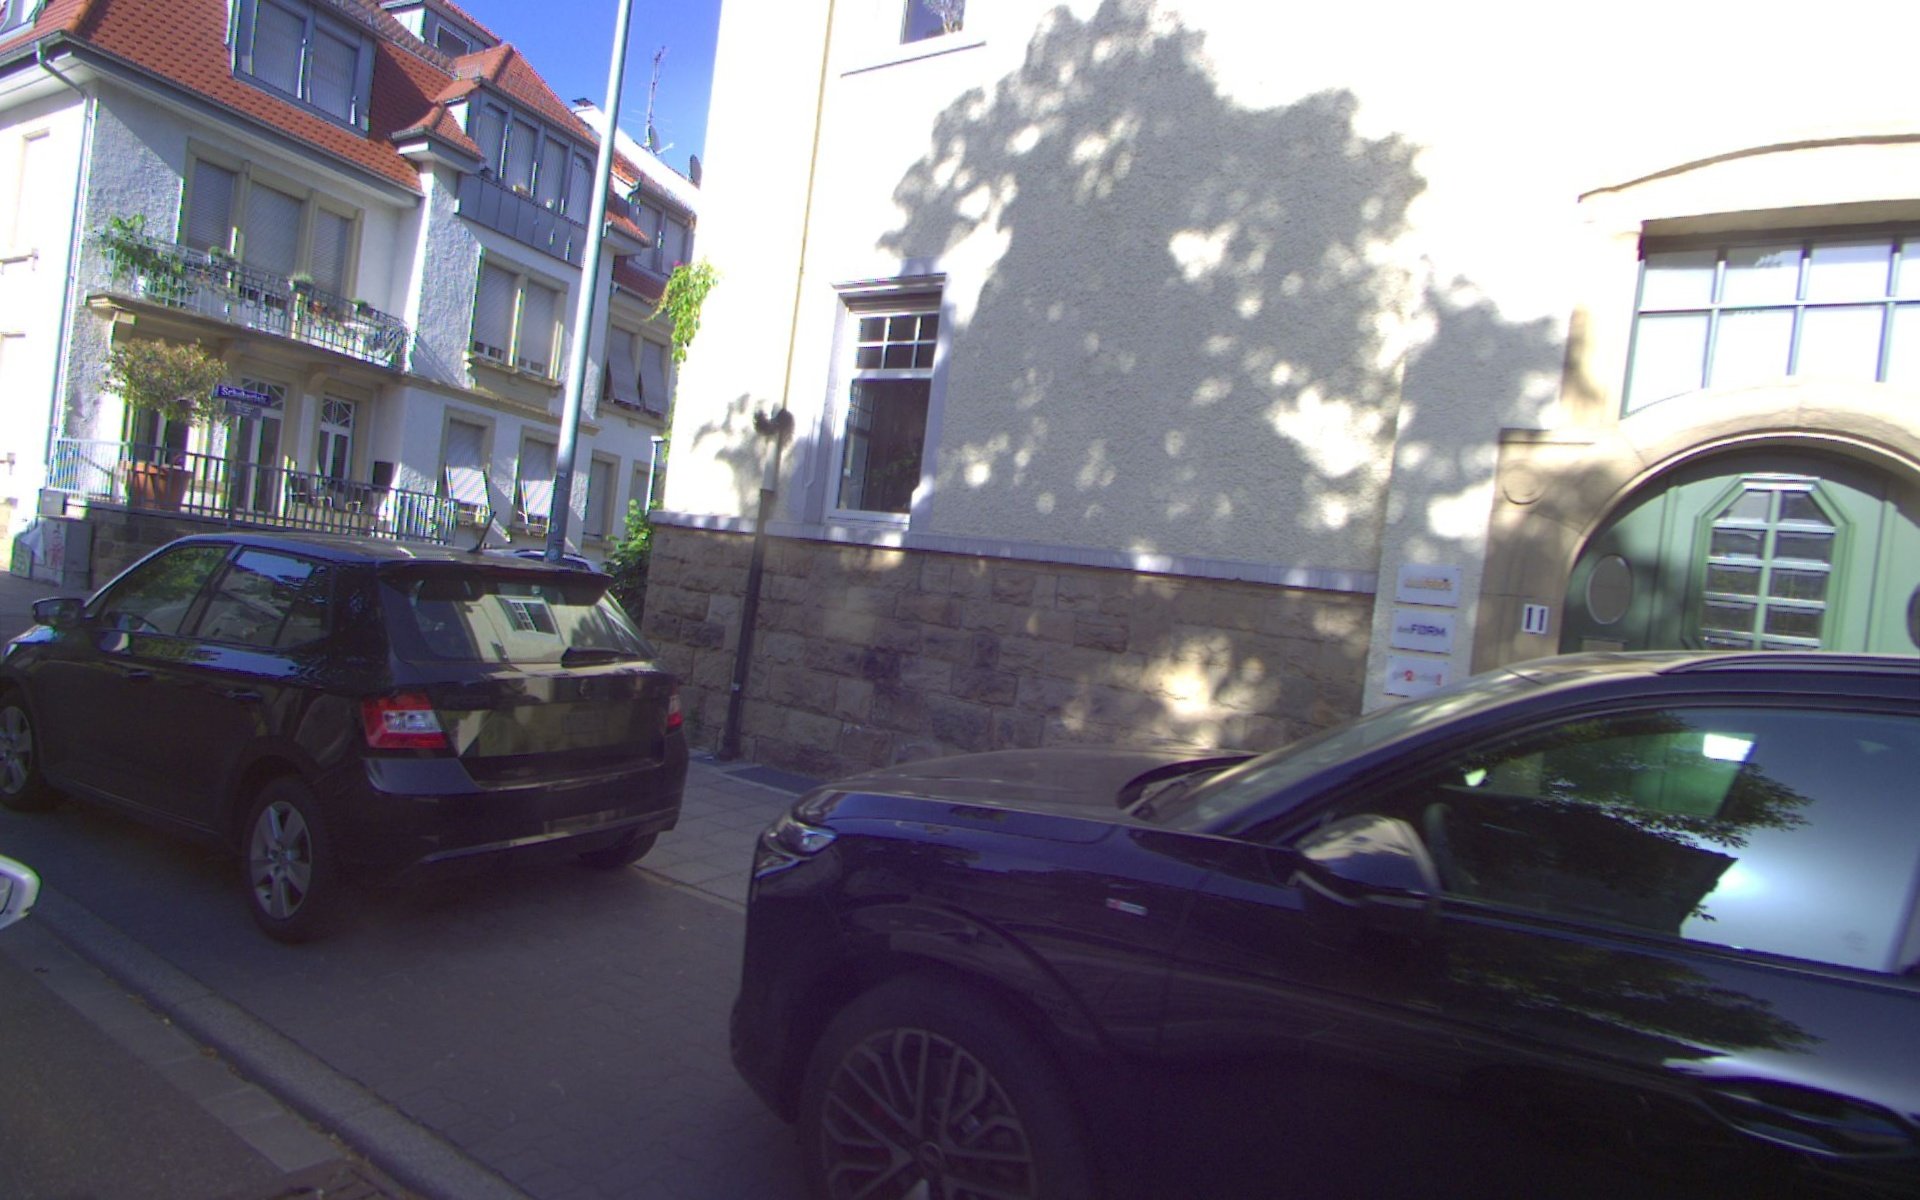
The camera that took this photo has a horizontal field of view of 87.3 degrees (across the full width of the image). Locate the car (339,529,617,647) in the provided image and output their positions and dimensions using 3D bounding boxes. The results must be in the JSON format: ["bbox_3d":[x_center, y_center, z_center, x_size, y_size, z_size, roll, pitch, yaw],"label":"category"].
[{"bbox_3d":[-8.176,-0.132,17.467,1.761,1.609,3.996,4,-2,28],"label":"car"}]

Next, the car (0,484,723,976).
[{"bbox_3d":[-3.292,0.351,4.961,3.933,1.539,1.665,5,0,28],"label":"car"}]

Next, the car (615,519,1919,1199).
[{"bbox_3d":[1.500,0.788,2.117,4.294,1.539,1.793,5,0,31],"label":"car"}]
